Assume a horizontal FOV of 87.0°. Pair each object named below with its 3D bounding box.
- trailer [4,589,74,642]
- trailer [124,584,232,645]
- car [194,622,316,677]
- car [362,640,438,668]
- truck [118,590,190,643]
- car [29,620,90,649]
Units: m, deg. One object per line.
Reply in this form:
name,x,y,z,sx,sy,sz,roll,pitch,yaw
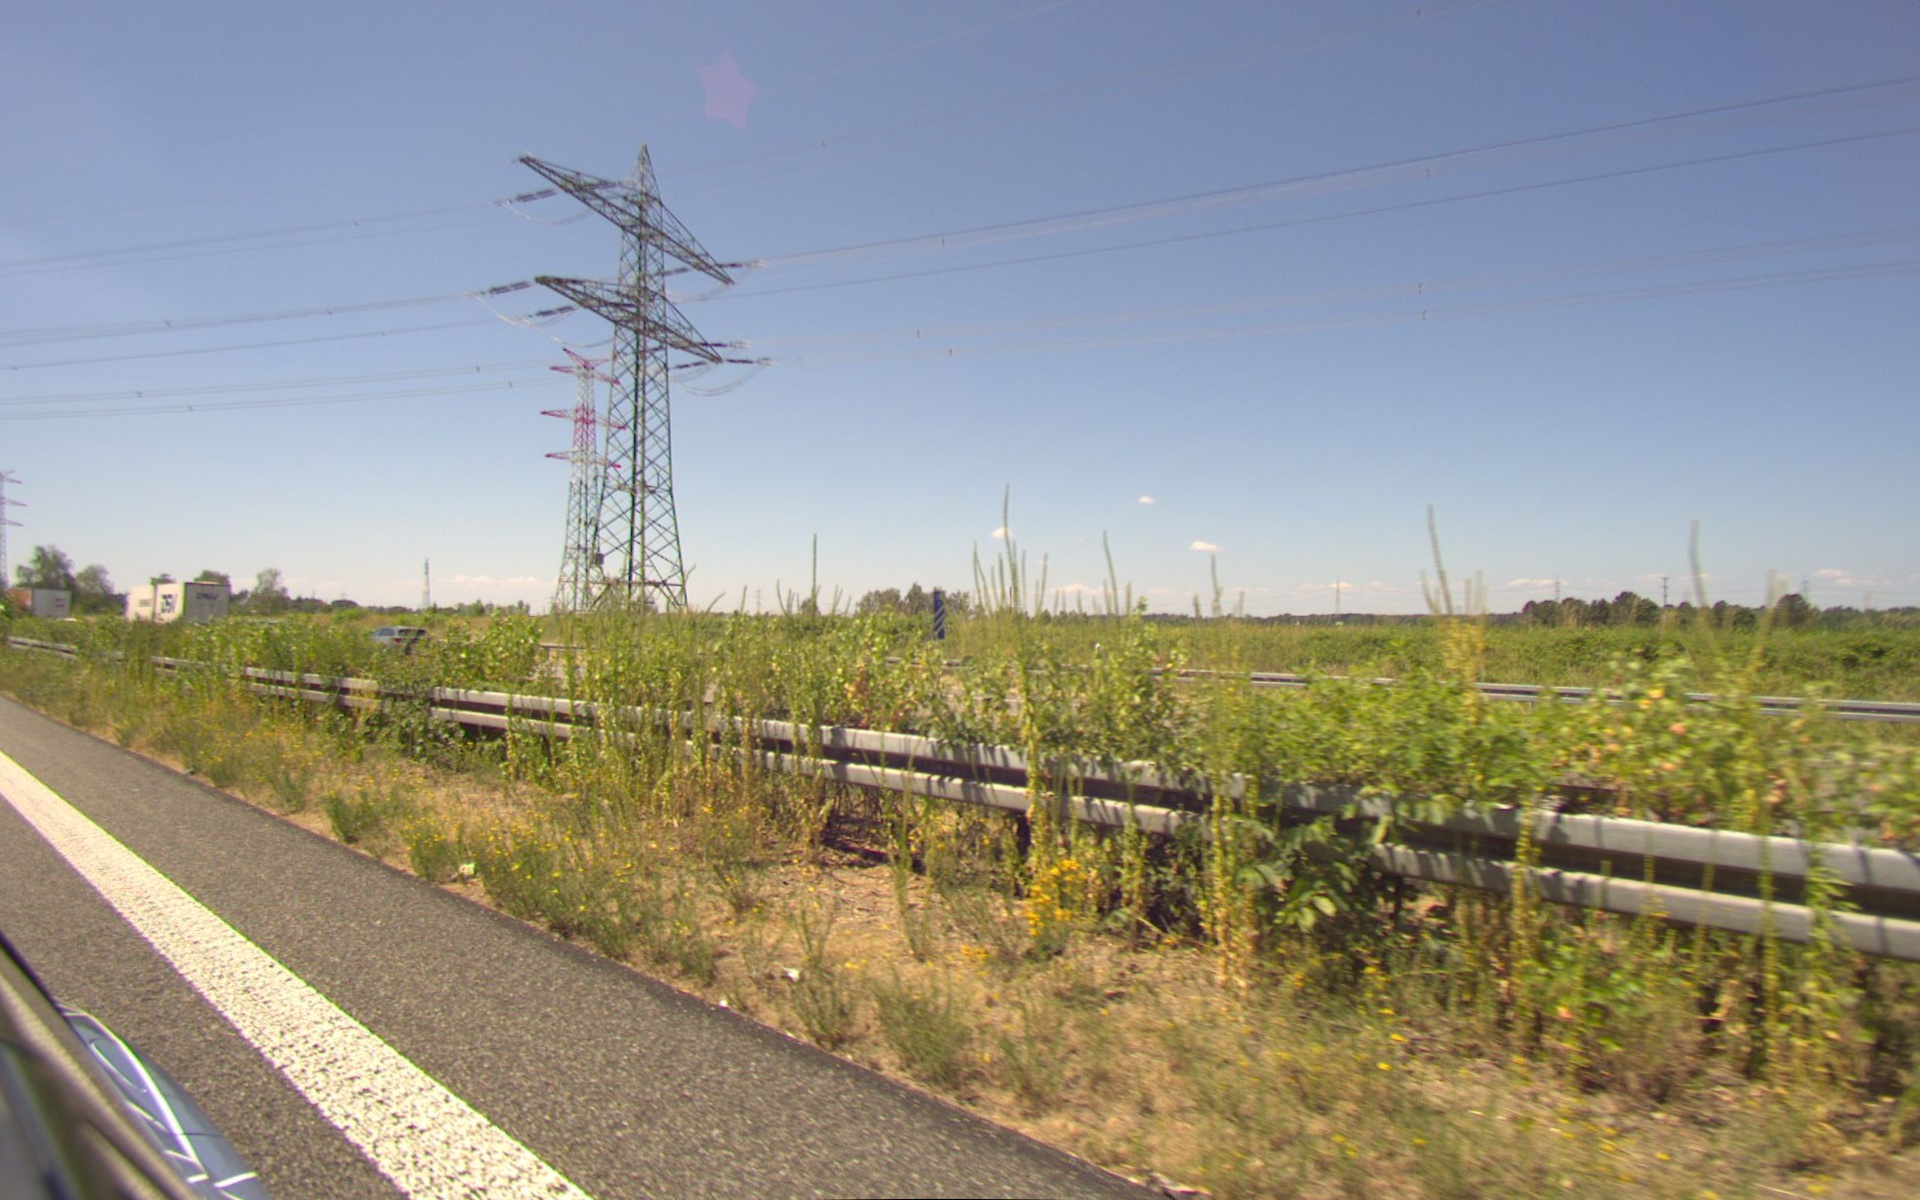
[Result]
trailer,-79.431,1.430,87.137,14.319,4.270,2.564,-1,-3,41
trailer,-54.922,1.077,70.819,15.969,3.851,2.824,-1,-2,41
car,-20.849,1.408,29.877,4.290,1.507,1.775,-1,-2,38
car,-23.777,2.255,42.929,3.988,1.099,1.487,-1,-2,40
truck,-59.990,1.259,75.254,6.844,3.780,2.806,-1,-3,40
car,-48.660,1.860,54.646,4.962,1.502,1.731,-1,-2,40
